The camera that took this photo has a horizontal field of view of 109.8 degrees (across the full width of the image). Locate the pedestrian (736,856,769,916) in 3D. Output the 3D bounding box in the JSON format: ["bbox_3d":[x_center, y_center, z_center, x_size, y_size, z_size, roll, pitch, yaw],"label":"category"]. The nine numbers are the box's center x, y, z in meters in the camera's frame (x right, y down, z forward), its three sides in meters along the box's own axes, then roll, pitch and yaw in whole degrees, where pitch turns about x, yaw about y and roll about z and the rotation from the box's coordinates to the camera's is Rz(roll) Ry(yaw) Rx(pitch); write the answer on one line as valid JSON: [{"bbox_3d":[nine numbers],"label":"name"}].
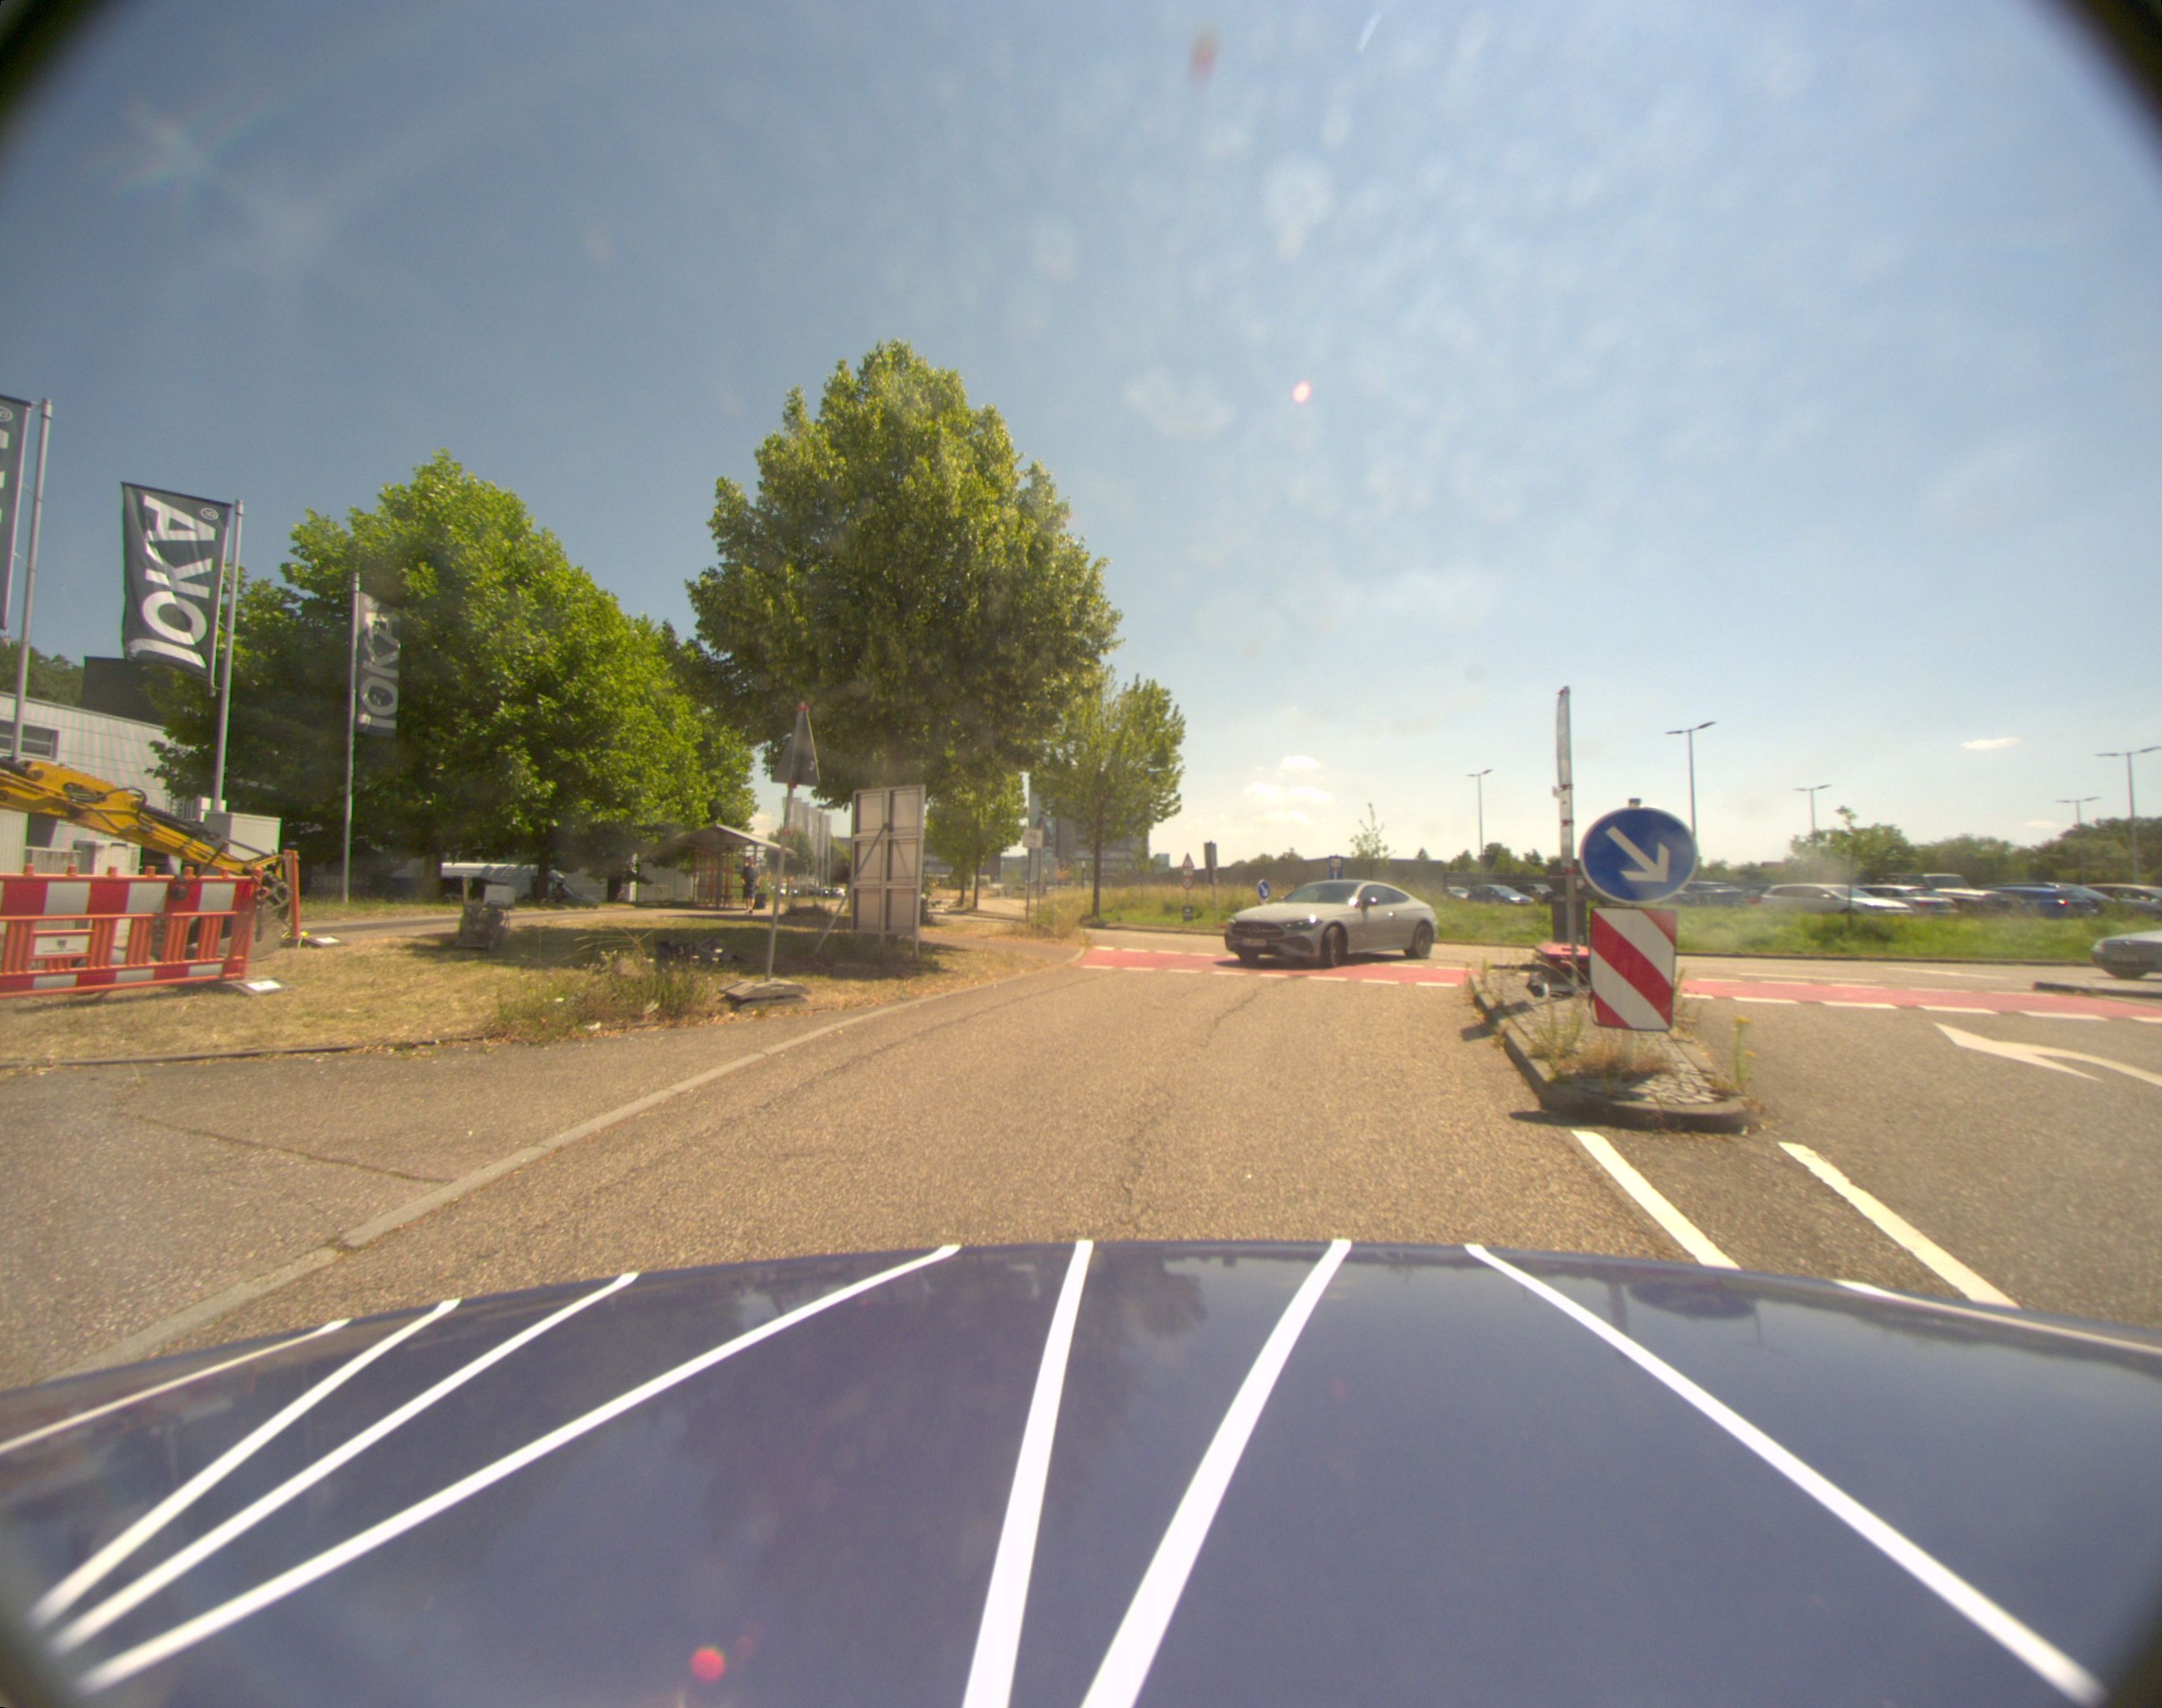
[{"bbox_3d":[-9.358,0.916,21.640,0.578,1.658,0.532,-1,-5,19],"label":"pedestrian"}]

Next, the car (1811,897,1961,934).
[{"bbox_3d":[27.764,2.087,26.346,1.501,1.174,3.270,1,-3,-9],"label":"car"}]

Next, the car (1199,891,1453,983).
[{"bbox_3d":[4.471,1.453,13.536,4.644,1.374,1.894,5,-5,-35],"label":"car"}]

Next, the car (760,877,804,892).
[{"bbox_3d":[-28.585,2.935,72.700,3.667,1.317,1.656,2,-5,-10],"label":"car"}]

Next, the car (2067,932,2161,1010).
[{"bbox_3d":[21.321,2.106,13.593,4.490,1.365,1.677,0,-6,9],"label":"car"}]

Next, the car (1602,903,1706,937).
[{"bbox_3d":[27.339,3.129,36.416,1.653,1.354,3.846,2,-2,-10],"label":"car"}]

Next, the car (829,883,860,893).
[{"bbox_3d":[-33.115,4.754,106.442,3.845,1.266,1.608,3,-2,-10],"label":"car"}]

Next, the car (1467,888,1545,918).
[{"bbox_3d":[23.255,2.661,41.702,1.654,1.436,3.635,3,-3,-16],"label":"car"}]

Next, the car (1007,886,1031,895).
[{"bbox_3d":[-10.518,6.165,128.209,3.845,1.266,1.608,3,-2,-10],"label":"car"}]

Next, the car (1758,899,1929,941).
[{"bbox_3d":[25.448,2.175,25.565,1.575,1.289,3.877,1,-3,-8],"label":"car"}]

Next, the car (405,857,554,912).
[{"bbox_3d":[-23.794,1.247,30.242,4.270,2.000,1.547,3,-5,-20],"label":"car"}]

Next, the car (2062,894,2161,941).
[{"bbox_3d":[38.523,2.296,27.194,1.618,1.614,3.847,2,-2,-11],"label":"car"}]

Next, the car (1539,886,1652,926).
[{"bbox_3d":[24.453,2.486,36.331,1.778,1.679,4.603,4,-4,-10],"label":"car"}]

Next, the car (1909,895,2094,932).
[{"bbox_3d":[33.069,2.105,27.476,1.586,1.249,3.945,1,-3,-12],"label":"car"}]

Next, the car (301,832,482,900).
[{"bbox_3d":[-19.828,0.388,22.140,1.840,1.717,3.999,2,-2,-7],"label":"car"}]

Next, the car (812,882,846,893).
[{"bbox_3d":[-32.085,4.234,96.768,3.893,1.266,1.704,3,-2,-10],"label":"car"}]

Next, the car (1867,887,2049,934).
[{"bbox_3d":[30.508,1.948,26.617,1.876,1.517,3.749,0,-3,-4],"label":"car"}]

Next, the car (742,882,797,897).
[{"bbox_3d":[-27.602,3.174,67.374,4.277,1.174,1.493,2,-5,-10],"label":"car"}]

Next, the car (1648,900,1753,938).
[{"bbox_3d":[29.868,3.113,36.756,1.770,1.587,3.637,2,-2,-10],"label":"car"}]

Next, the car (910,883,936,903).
[{"bbox_3d":[-13.020,3.224,62.772,1.679,1.494,3.574,1,-5,-5],"label":"car"}]

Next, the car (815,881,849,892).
[{"bbox_3d":[-32.518,4.304,99.317,3.893,1.266,1.704,3,-2,-10],"label":"car"}]

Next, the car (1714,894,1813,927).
[{"bbox_3d":[34.275,2.871,38.267,1.523,1.563,3.419,2,-5,-12],"label":"car"}]

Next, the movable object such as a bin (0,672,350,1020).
[{"bbox_3d":[-8.953,-0.092,5.081,1.999,2.565,6.576,2,-1,-3],"label":"movable object such as a bin"}]
